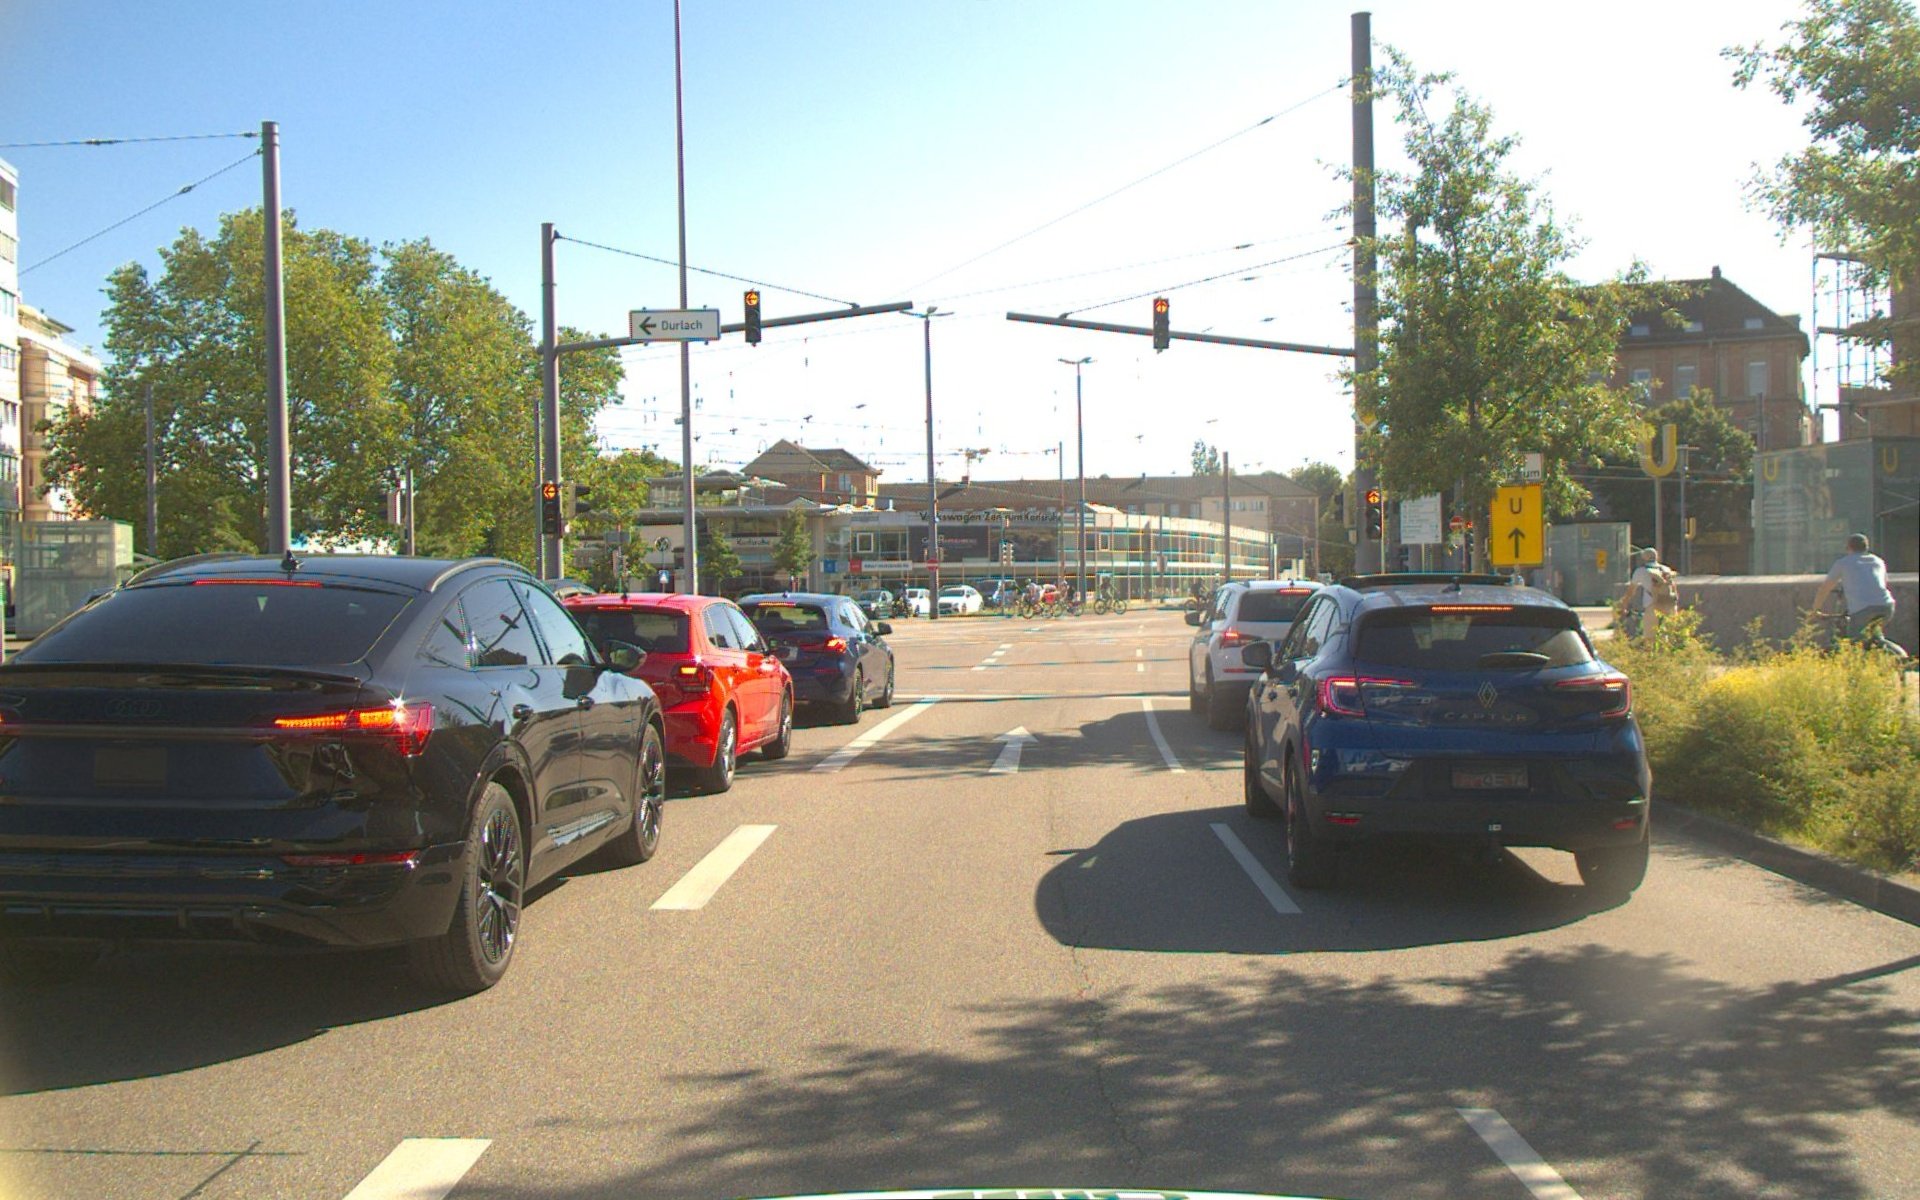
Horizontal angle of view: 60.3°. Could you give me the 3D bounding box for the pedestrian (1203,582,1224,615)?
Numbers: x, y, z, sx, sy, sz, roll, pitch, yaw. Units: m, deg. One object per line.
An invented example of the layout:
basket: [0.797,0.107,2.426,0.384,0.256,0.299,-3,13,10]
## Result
pedestrian: [13.170,-0.088,86.064,0.843,1.639,0.694,-2,3,-37]

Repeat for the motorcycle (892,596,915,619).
motorcycle: [-2.786,0.349,81.331,0.550,1.113,1.837,-1,0,18]

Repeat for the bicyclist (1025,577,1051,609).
bicyclist: [3.606,-0.311,76.492,0.946,1.474,0.965,-1,0,-15]

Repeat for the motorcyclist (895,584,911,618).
motorcyclist: [-2.806,0.065,81.267,0.538,1.649,0.745,-1,0,18]

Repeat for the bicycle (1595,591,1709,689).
bicycle: [8.862,0.487,21.250,0.730,1.185,1.871,-1,1,2]

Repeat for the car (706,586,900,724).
car: [-1.789,0.591,19.977,1.689,1.467,3.801,1,0,4]

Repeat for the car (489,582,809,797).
car: [-2.362,0.617,13.490,1.636,1.467,3.724,1,0,4]

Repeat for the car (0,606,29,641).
car: [-43.205,1.050,72.973,3.376,1.537,1.685,-1,0,-16]

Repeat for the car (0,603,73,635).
car: [-43.499,0.889,77.426,3.210,1.339,1.519,-1,2,-17]

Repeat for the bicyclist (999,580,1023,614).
bicyclist: [2.394,-0.143,78.308,0.968,1.632,0.756,-1,0,-12]

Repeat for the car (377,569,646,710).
car: [-5.211,0.413,19.783,1.688,1.467,3.913,1,0,8]

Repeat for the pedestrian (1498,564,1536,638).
pedestrian: [13.493,0.032,40.063,0.585,1.753,0.866,-2,-3,39]

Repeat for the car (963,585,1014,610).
car: [1.719,-0.154,99.502,1.690,1.467,4.184,1,0,22]

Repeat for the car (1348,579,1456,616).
car: [19.246,-0.110,71.997,4.289,1.467,1.723,1,0,-16]

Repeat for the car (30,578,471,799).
car: [-5.331,0.585,13.009,1.689,1.468,3.800,-1,0,2]

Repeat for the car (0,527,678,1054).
car: [-2.612,0.590,7.403,1.943,1.652,4.377,1,0,0]

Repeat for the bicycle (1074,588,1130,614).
bicycle: [7.063,0.043,82.241,2.601,1.209,0.944,-1,2,-14]

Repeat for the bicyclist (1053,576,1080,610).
bicyclist: [5.112,-0.344,79.581,1.045,1.611,0.944,-1,2,-14]

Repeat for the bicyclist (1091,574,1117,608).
bicyclist: [7.153,-0.458,82.257,1.045,1.611,0.944,-1,2,-14]

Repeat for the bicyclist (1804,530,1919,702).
bicyclist: [9.035,0.148,16.499,0.705,1.645,0.977,-1,0,-1]

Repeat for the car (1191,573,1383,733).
car: [3.674,0.552,19.151,1.837,1.646,3.627,1,0,6]

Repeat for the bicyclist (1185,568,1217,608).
bicyclist: [11.357,-0.565,77.925,1.167,1.807,0.941,-1,2,-22]

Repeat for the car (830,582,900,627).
car: [-4.665,0.189,81.874,1.953,2.048,4.000,1,3,22]

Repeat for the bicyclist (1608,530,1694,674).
bicyclist: [8.854,0.021,21.223,0.704,1.793,0.978,-1,0,2]

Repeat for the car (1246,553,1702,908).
car: [2.746,0.608,9.716,1.837,1.646,3.800,1,0,6]

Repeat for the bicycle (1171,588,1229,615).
bicycle: [11.305,0.064,77.939,2.609,1.209,0.941,-1,2,-22]

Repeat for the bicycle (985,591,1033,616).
bicycle: [2.328,0.158,78.290,2.140,1.114,0.756,-1,0,-12]

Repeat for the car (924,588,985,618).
car: [-0.250,0.131,85.647,1.689,1.468,4.184,-1,0,22]

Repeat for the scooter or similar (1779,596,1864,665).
scooter or similar: [13.870,0.478,26.661,0.460,1.030,1.243,-1,2,-18]

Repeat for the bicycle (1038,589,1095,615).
bicycle: [5.138,0.093,79.590,2.601,1.209,0.944,-1,2,-14]

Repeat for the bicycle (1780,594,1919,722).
bicycle: [9.033,0.545,16.545,0.701,1.185,1.870,-1,1,-1]

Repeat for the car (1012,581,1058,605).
car: [4.860,-0.428,106.695,1.690,1.467,4.184,1,0,22]

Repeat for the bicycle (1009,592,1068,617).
bicycle: [3.628,0.218,76.488,2.599,1.114,0.965,-1,0,-15]

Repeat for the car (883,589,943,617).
car: [-2.454,0.151,88.039,1.689,1.468,4.184,-1,0,22]
